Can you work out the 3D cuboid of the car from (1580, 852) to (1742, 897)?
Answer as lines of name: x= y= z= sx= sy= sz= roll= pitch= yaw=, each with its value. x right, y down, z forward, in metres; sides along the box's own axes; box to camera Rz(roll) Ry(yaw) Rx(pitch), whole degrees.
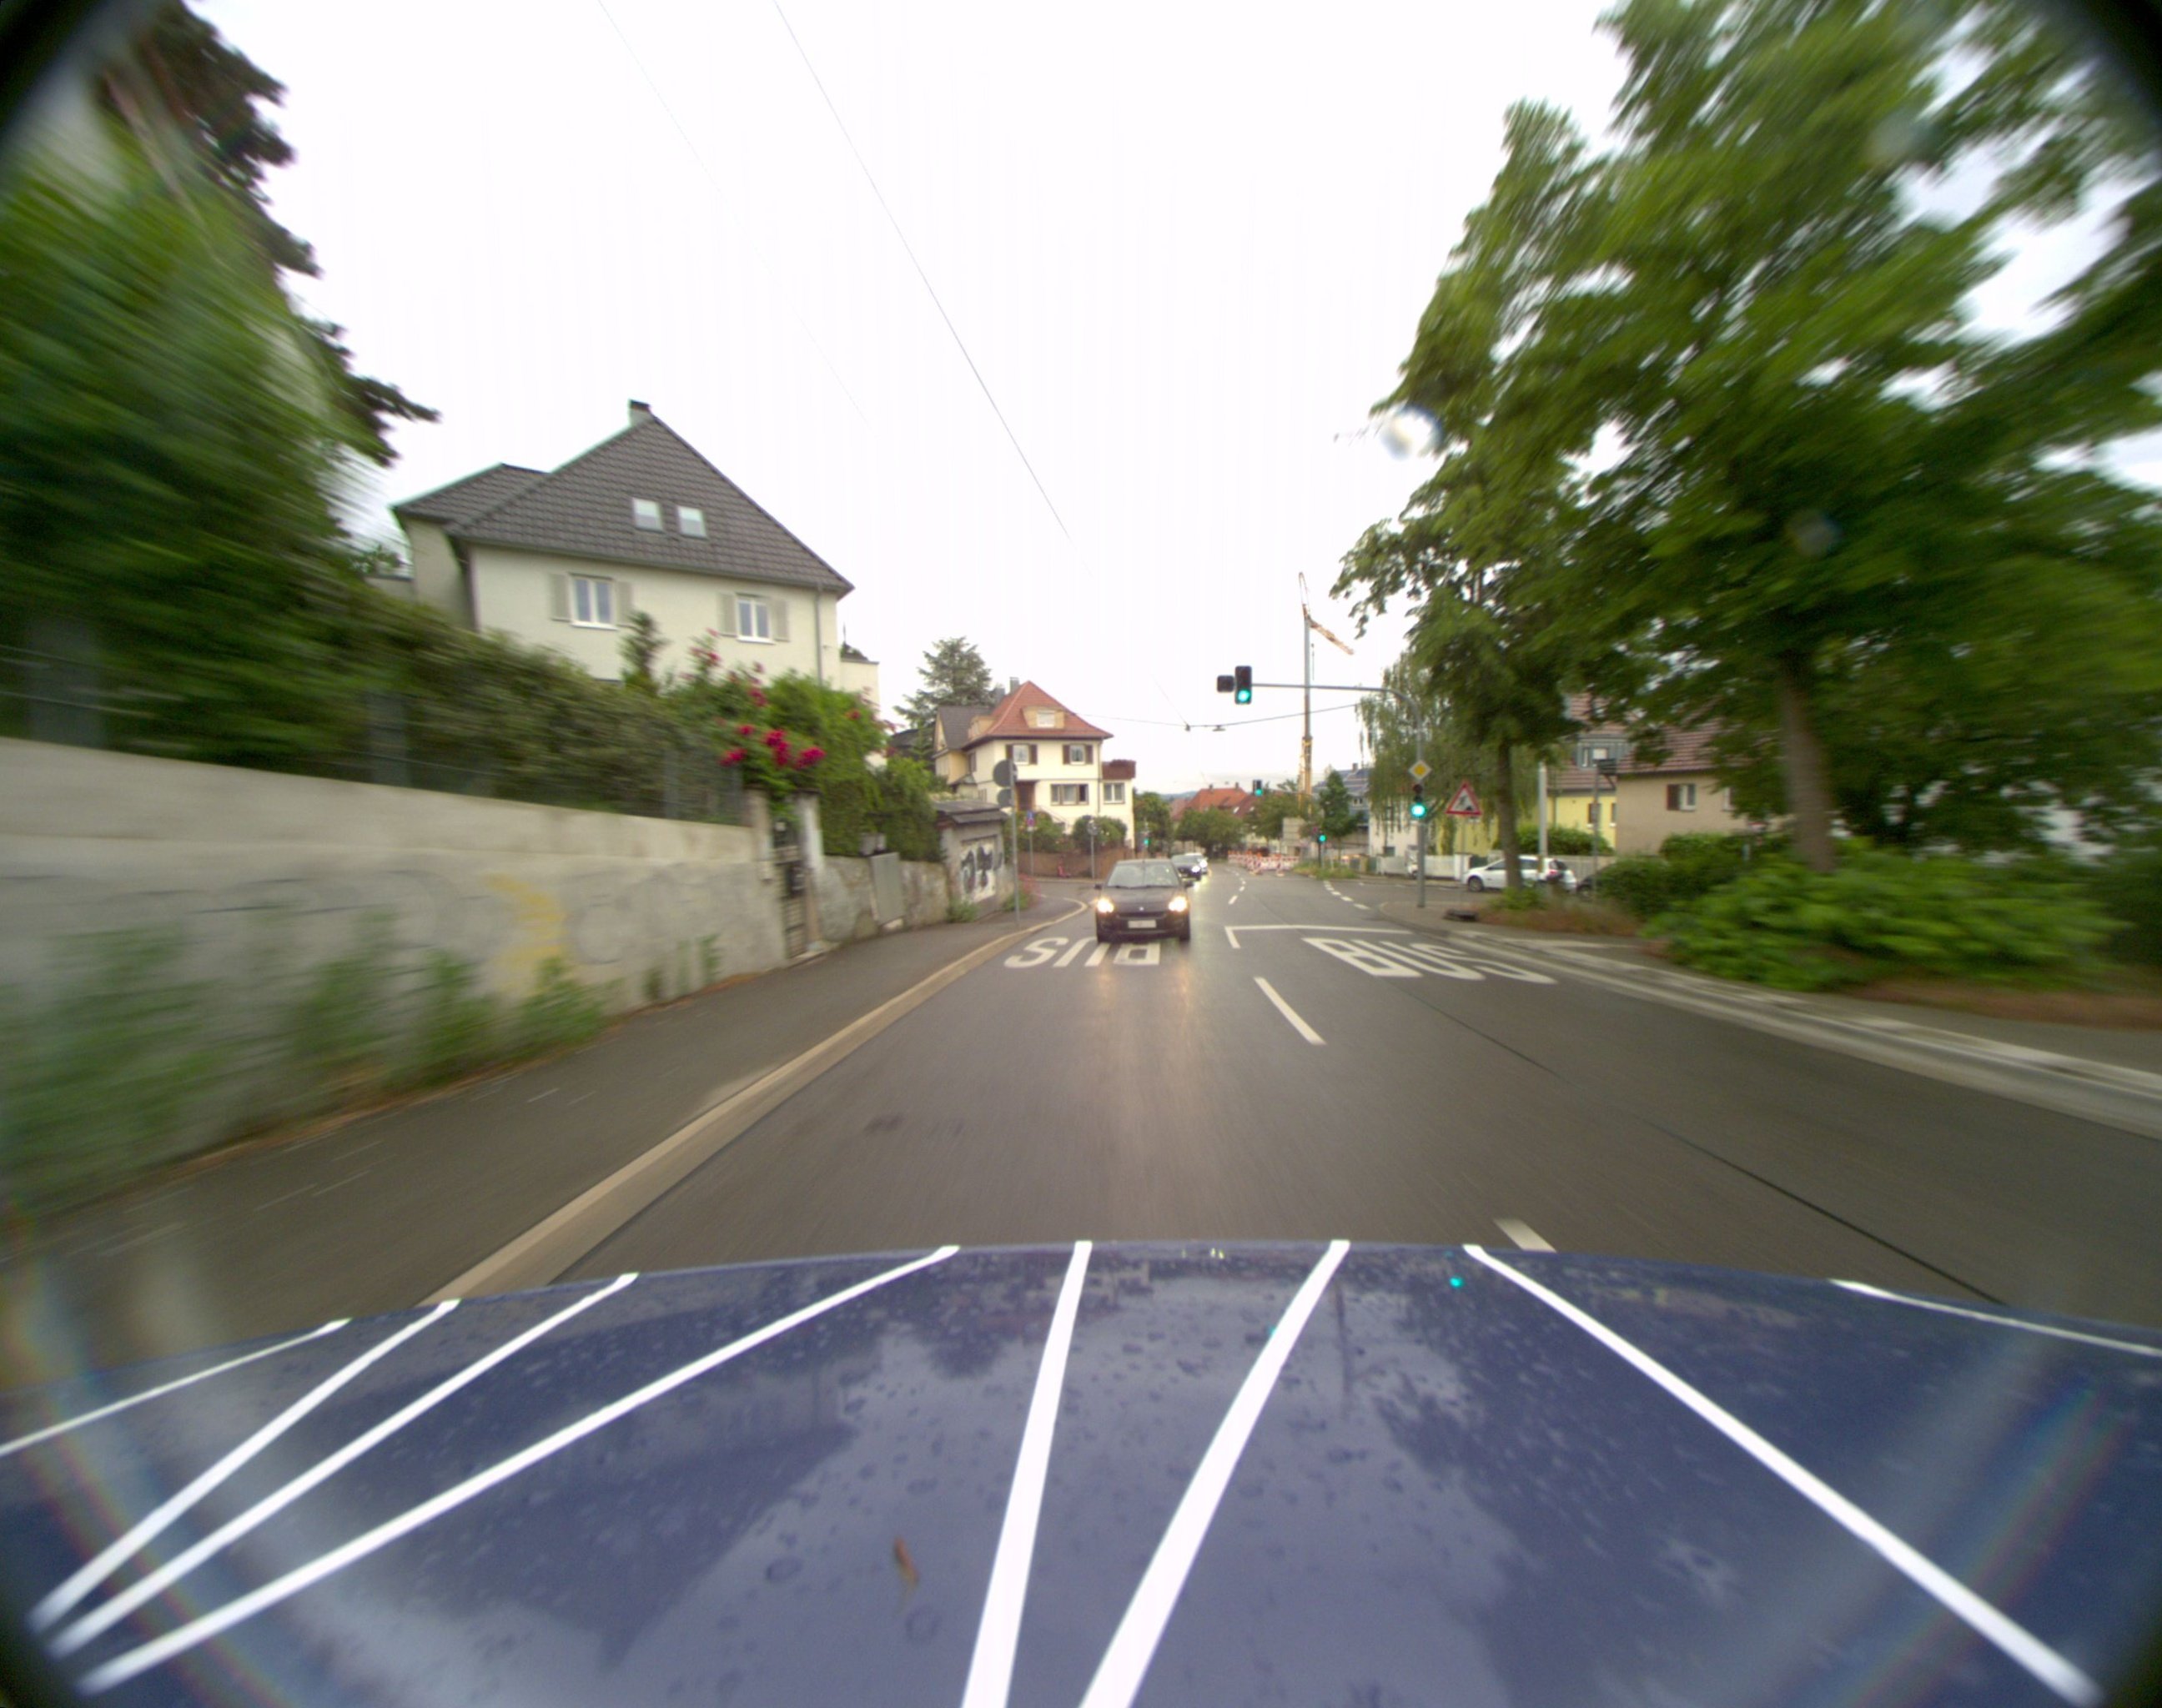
car: x=19.840 y=0.651 z=26.152 sx=1.966 sy=1.407 sz=4.014 roll=-1 pitch=1 yaw=-34

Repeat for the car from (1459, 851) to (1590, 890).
car: x=17.400 y=0.590 z=29.997 sx=1.966 sy=1.407 sz=4.014 roll=-1 pitch=1 yaw=-34

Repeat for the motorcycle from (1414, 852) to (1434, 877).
motorcycle: x=16.221 y=0.496 z=35.961 sx=0.473 sy=1.138 sz=1.423 roll=-1 pitch=1 yaw=6

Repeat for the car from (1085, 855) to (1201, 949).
car: x=1.373 y=0.822 z=14.907 sx=1.803 sy=1.418 sz=4.386 roll=-4 pitch=0 yaw=10

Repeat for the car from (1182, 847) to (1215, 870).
car: x=8.995 y=0.325 z=57.969 sx=2.028 sy=1.619 sz=4.232 roll=-2 pitch=0 yaw=14

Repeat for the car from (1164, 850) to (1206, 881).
car: x=5.695 y=0.577 z=41.325 sx=2.029 sy=1.454 sz=4.002 roll=-3 pitch=1 yaw=10
